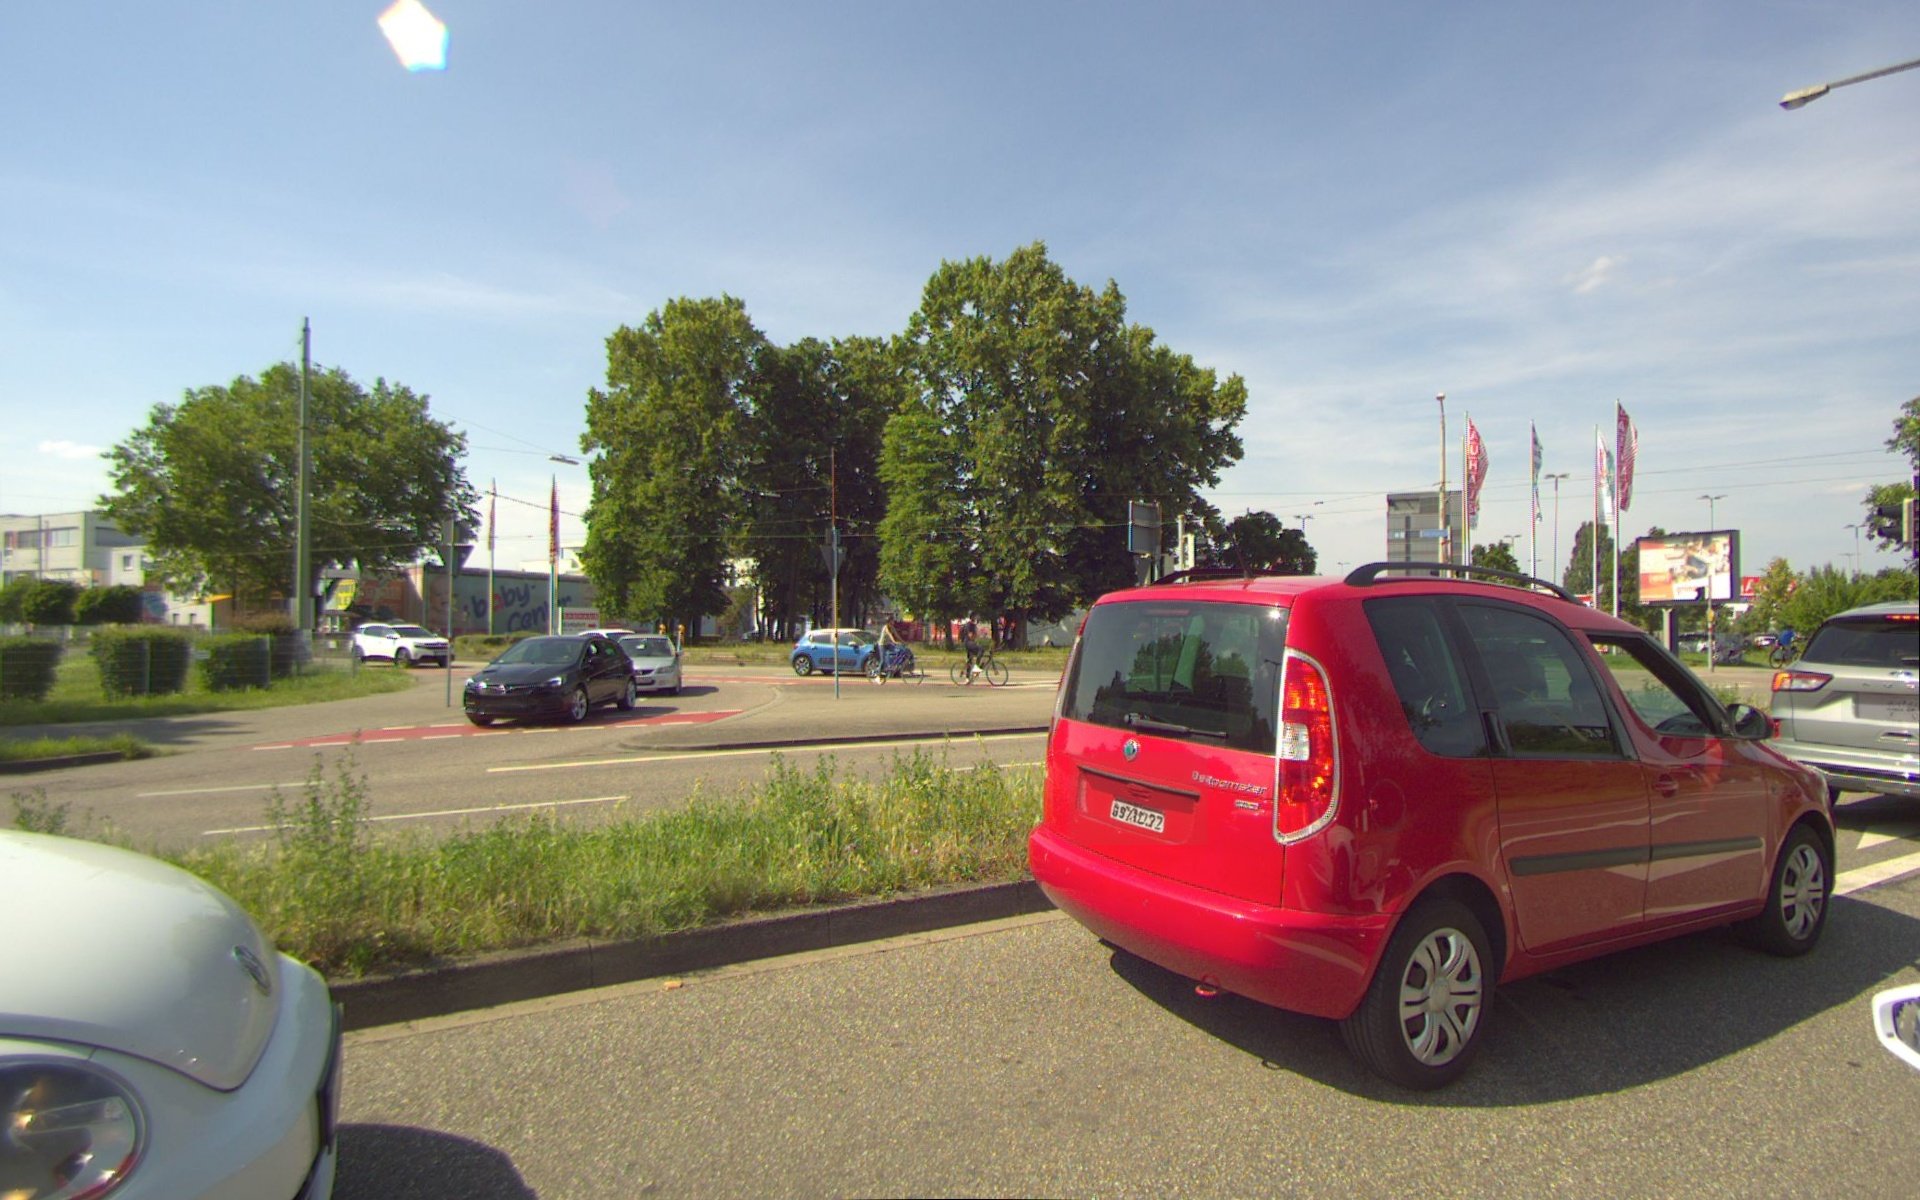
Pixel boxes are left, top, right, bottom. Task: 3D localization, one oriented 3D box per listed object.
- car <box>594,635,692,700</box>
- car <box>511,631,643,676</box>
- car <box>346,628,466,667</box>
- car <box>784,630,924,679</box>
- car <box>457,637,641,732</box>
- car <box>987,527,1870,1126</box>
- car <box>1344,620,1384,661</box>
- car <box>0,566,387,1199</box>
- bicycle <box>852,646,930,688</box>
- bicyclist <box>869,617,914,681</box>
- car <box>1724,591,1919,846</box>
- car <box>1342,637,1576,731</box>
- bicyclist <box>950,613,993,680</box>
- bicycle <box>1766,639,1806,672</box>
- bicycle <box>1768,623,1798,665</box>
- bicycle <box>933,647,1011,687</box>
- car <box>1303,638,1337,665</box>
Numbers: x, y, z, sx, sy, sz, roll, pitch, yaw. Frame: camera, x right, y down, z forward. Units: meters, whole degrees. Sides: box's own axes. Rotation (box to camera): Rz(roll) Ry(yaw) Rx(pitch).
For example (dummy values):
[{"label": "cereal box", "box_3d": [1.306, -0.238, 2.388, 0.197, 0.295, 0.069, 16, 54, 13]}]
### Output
[{"label": "car", "box_3d": [-7.594, 1.576, 24.407, 1.814, 1.407, 3.992, 0, -2, -11]}, {"label": "car", "box_3d": [-12.929, 1.757, 33.944, 3.924, 1.439, 1.999, -1, -2, 24]}, {"label": "car", "box_3d": [-20.922, 1.760, 37.946, 3.955, 1.439, 1.999, -1, -2, 24]}, {"label": "car", "box_3d": [-3.327, 1.680, 31.616, 3.921, 1.439, 2.000, -1, -2, 20]}, {"label": "car", "box_3d": [-7.086, 1.398, 17.775, 1.731, 1.407, 3.999, -1, -2, -2]}, {"label": "car", "box_3d": [2.186, 0.693, 4.421, 3.872, 1.616, 1.621, 2, -2, -30]}, {"label": "car", "box_3d": [25.784, 2.564, 64.234, 1.960, 2.566, 4.642, -1, -2, 17]}, {"label": "car", "box_3d": [-3.038, 0.684, 1.182, 4.087, 1.499, 1.757, 1, 0, -31]}, {"label": "bicycle", "box_3d": [-1.867, 1.795, 27.051, 1.972, 1.053, 0.744, -2, 0, 25]}, {"label": "bicyclist", "box_3d": [-1.837, 1.311, 27.041, 0.883, 1.668, 0.787, -1, 0, 25]}, {"label": "car", "box_3d": [7.904, 0.803, 7.677, 4.163, 1.639, 1.872, 1, -1, -30]}, {"label": "car", "box_3d": [8.563, 1.359, 17.185, 3.953, 1.408, 1.732, 1, -2, -31]}, {"label": "bicyclist", "box_3d": [0.307, 1.244, 26.861, 0.883, 1.738, 0.782, -1, 0, 25]}, {"label": "bicycle", "box_3d": [32.864, 2.192, 39.956, 2.225, 1.273, 0.668, 1, -2, -35]}, {"label": "bicycle", "box_3d": [32.635, 1.739, 39.830, 0.982, 1.636, 0.668, 1, -2, -35]}, {"label": "bicycle", "box_3d": [0.328, 1.777, 26.842, 1.917, 0.996, 0.788, -2, 0, 25]}, {"label": "car", "box_3d": [23.146, 3.286, 64.680, 1.960, 1.706, 4.001, -1, -2, 18]}]
